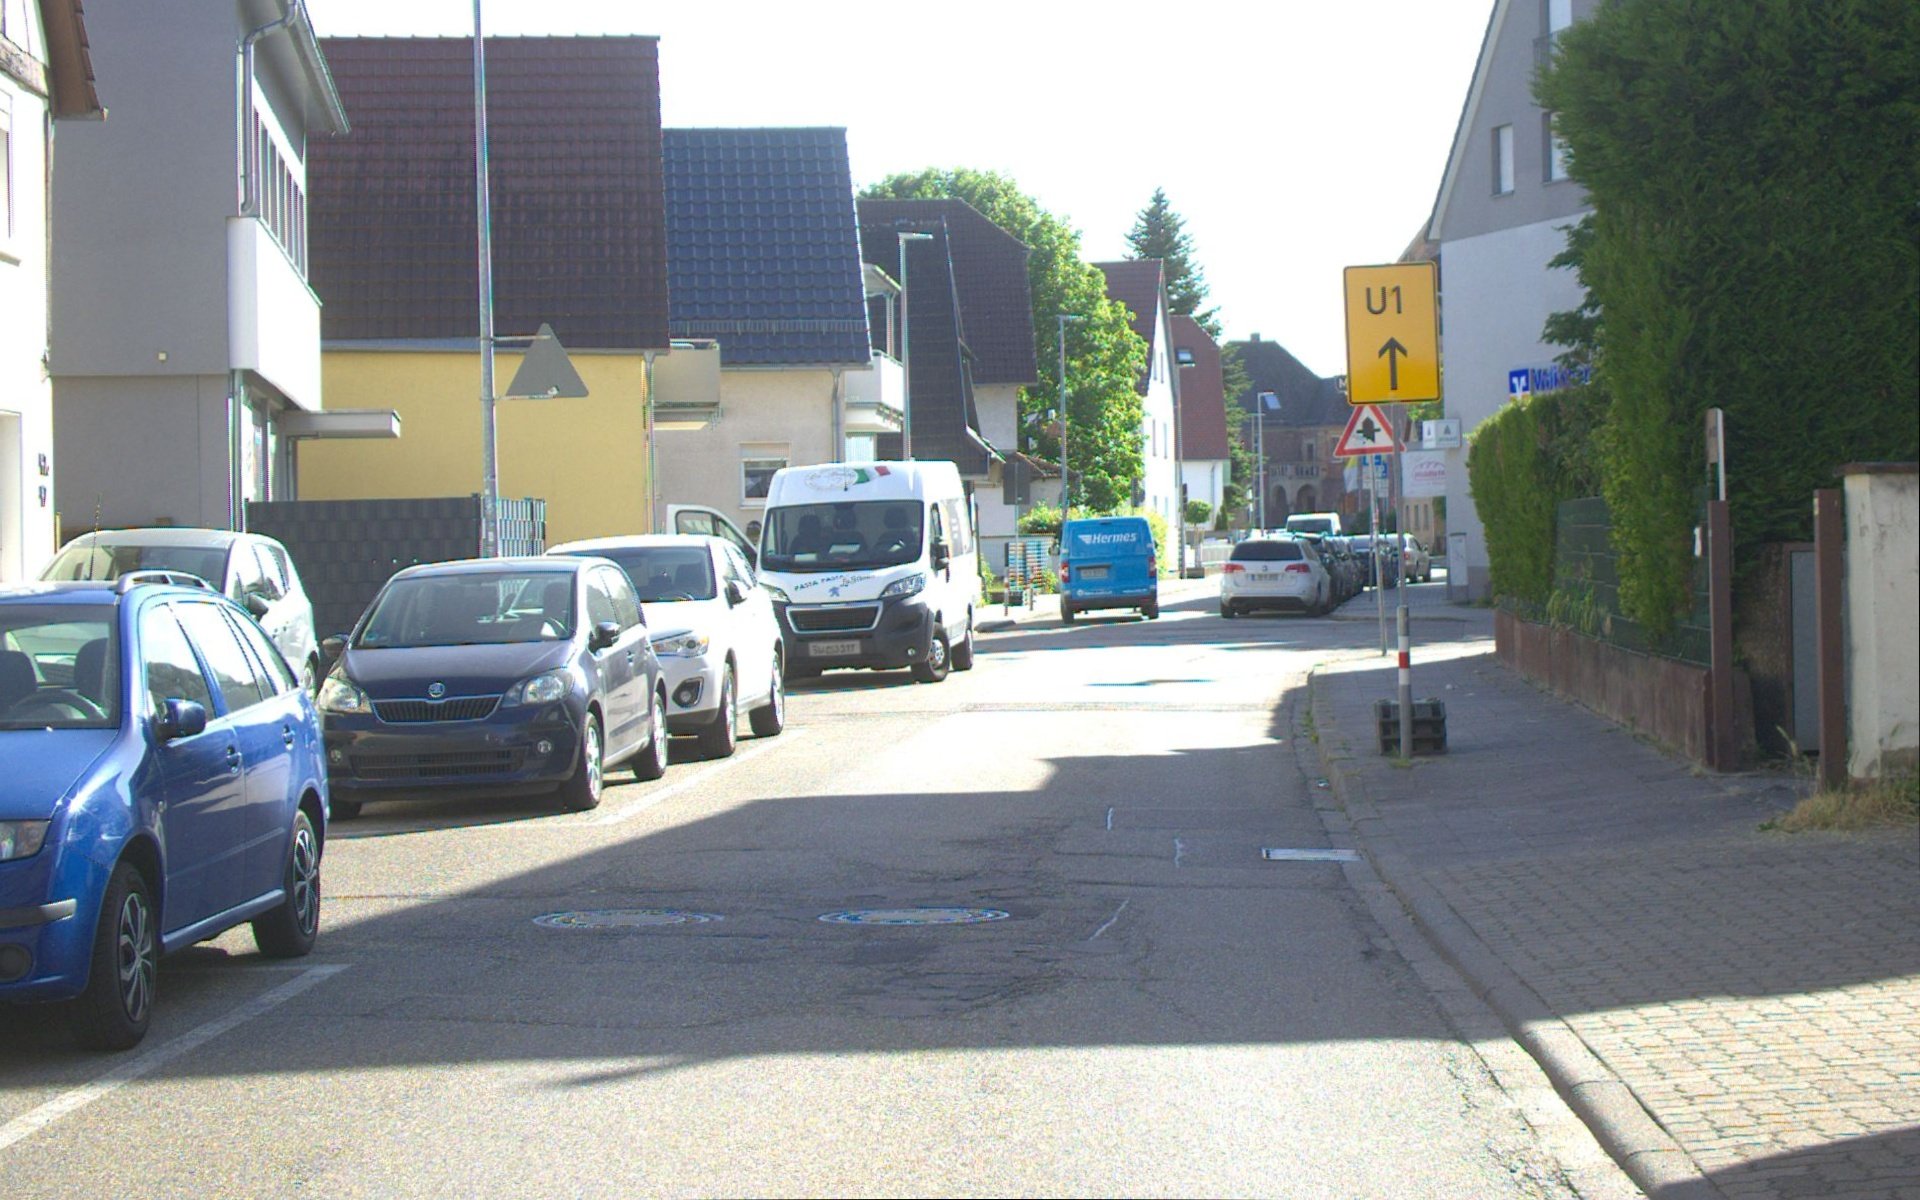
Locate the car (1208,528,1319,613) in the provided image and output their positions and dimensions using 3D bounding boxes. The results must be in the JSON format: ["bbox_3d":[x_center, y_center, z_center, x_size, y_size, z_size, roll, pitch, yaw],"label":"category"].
[{"bbox_3d":[5.562,-0.520,63.349,1.844,1.408,3.999,2,-1,3],"label":"car"}]

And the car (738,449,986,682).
[{"bbox_3d":[-1.014,-0.401,38.719,2.077,2.386,5.207,-2,1,6],"label":"car"}]

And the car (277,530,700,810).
[{"bbox_3d":[-2.795,0.369,21.266,1.704,1.513,4.121,-2,1,5],"label":"car"}]

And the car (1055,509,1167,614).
[{"bbox_3d":[2.782,-0.755,64.163,1.920,1.795,4.780,-2,2,1],"label":"car"}]

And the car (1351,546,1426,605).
[{"bbox_3d":[12.557,-0.710,100.528,1.931,1.565,3.998,2,-1,10],"label":"car"}]

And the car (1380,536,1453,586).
[{"bbox_3d":[14.594,-1.230,109.733,1.845,1.408,3.997,1,-1,14],"label":"car"}]

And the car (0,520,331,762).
[{"bbox_3d":[-5.872,0.236,25.421,1.721,1.590,4.017,2,1,-1],"label":"car"}]

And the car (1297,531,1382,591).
[{"bbox_3d":[9.959,-1.017,90.123,1.845,1.408,3.998,2,-1,11],"label":"car"}]

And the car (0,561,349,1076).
[{"bbox_3d":[-3.274,0.610,11.667,1.638,1.436,4.075,-1,1,0],"label":"car"}]

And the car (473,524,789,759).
[{"bbox_3d":[-2.363,0.249,25.624,1.673,1.566,3.965,-2,1,4],"label":"car"}]
